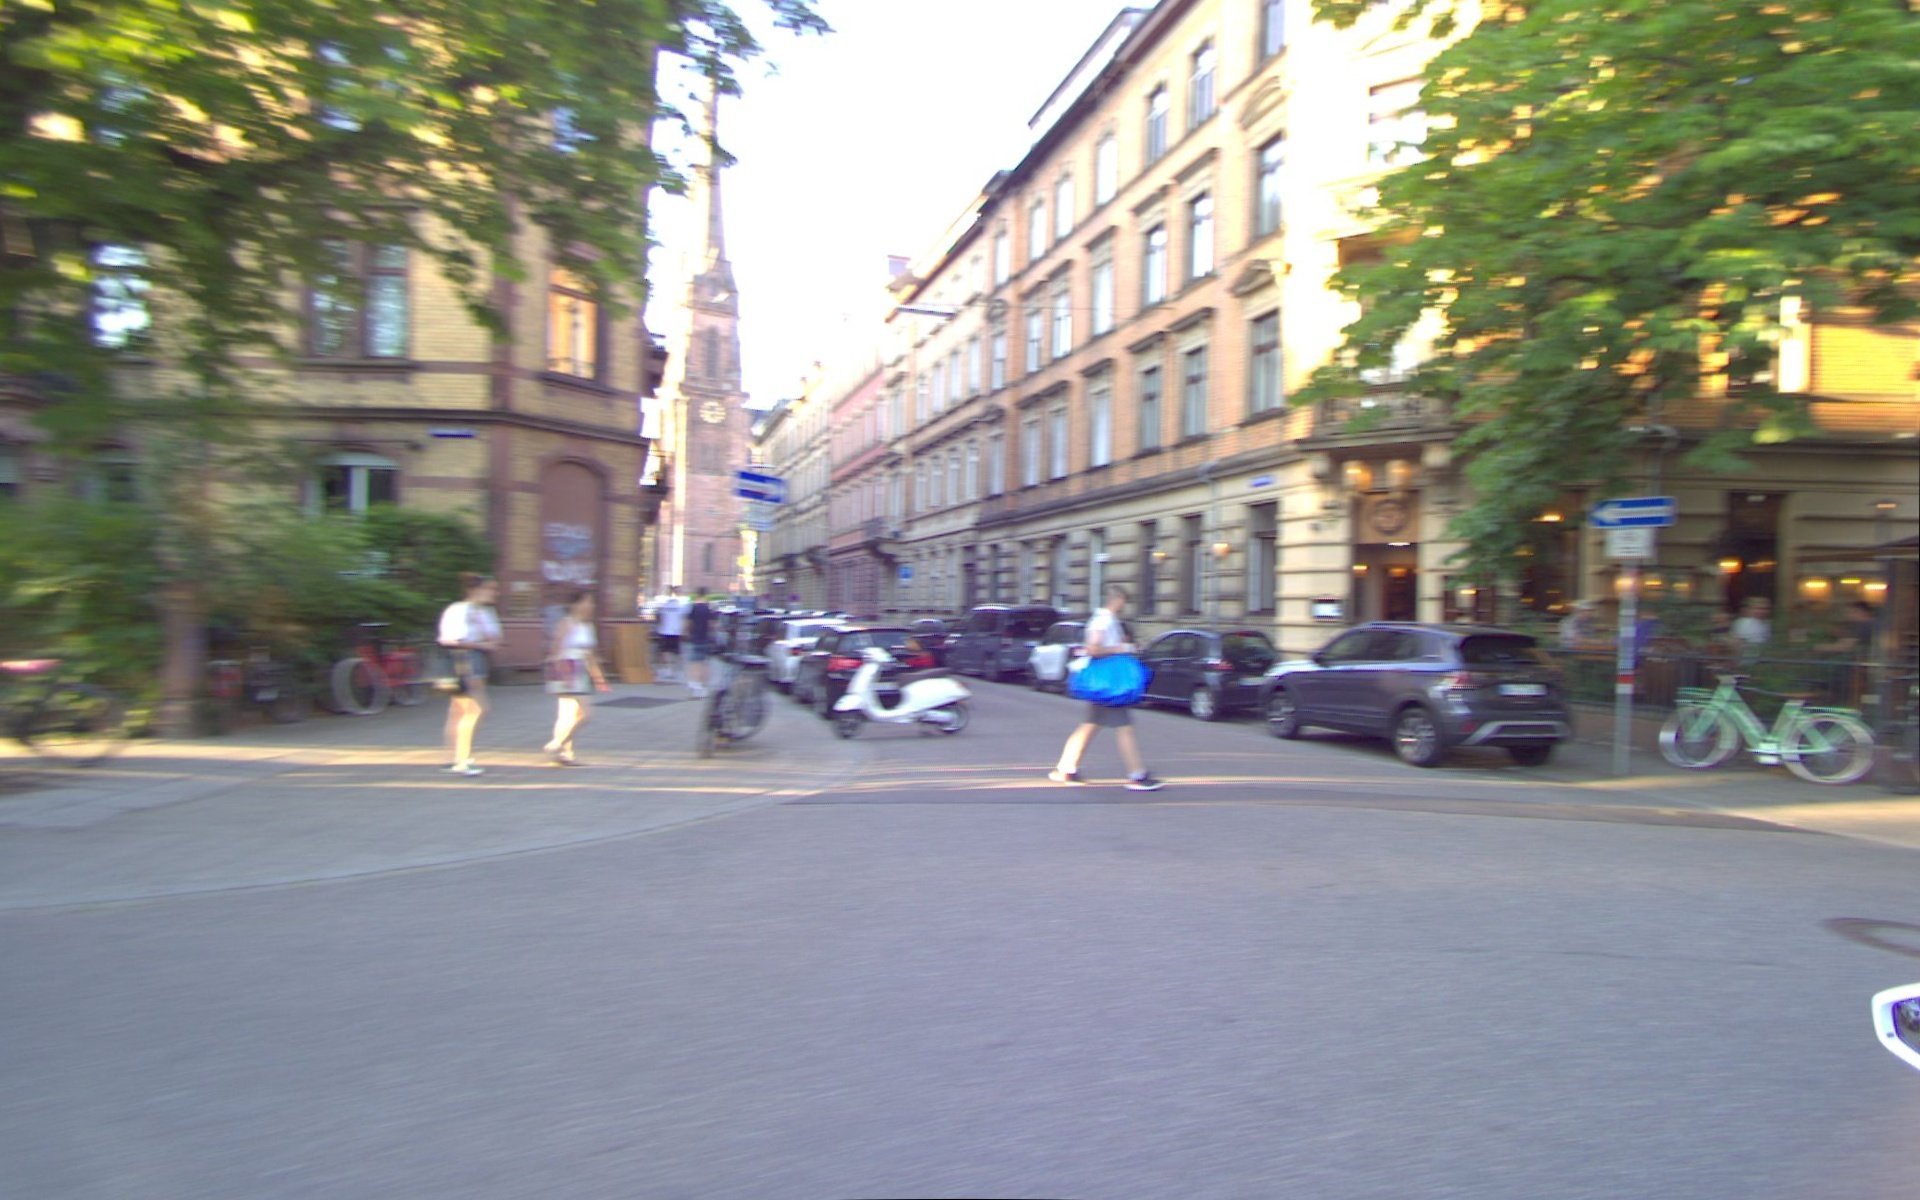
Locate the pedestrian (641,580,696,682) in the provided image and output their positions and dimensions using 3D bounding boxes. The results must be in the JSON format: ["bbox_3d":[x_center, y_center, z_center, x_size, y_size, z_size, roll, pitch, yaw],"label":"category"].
[{"bbox_3d":[-5.529,0.565,19.098,0.767,1.847,0.923,4,1,-10],"label":"pedestrian"}]

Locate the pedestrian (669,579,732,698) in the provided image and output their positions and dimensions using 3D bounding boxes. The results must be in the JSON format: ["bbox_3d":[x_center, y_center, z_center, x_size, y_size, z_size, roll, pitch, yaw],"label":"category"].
[{"bbox_3d":[-4.217,0.615,16.371,0.674,1.847,0.793,4,1,4],"label":"pedestrian"}]

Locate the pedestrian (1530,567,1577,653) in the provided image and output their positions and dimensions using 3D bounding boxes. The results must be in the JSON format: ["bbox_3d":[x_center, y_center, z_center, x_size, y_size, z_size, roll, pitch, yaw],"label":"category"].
[{"bbox_3d":[10.028,0.167,16.984,0.455,1.431,0.523,0,-1,-13],"label":"pedestrian"}]

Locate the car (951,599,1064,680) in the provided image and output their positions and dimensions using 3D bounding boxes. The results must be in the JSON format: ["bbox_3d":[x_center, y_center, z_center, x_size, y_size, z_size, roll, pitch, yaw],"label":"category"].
[{"bbox_3d":[1.100,0.937,24.839,1.662,1.847,3.474,0,-1,-18],"label":"car"}]

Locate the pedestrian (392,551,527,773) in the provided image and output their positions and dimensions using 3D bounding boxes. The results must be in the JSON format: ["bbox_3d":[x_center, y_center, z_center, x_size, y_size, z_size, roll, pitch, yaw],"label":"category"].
[{"bbox_3d":[-4.429,0.540,8.948,0.996,1.859,0.683,2,-1,-25],"label":"pedestrian"}]

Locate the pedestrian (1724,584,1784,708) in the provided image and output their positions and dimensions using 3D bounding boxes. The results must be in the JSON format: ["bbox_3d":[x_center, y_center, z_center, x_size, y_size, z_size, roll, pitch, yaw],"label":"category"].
[{"bbox_3d":[9.620,0.548,12.175,0.458,1.470,0.426,0,-1,-30],"label":"pedestrian"}]

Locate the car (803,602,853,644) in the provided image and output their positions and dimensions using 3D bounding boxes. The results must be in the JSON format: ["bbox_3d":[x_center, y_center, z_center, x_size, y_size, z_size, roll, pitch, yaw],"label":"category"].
[{"bbox_3d":[-6.117,1.029,46.128,1.662,1.847,3.474,0,-1,-18],"label":"car"}]

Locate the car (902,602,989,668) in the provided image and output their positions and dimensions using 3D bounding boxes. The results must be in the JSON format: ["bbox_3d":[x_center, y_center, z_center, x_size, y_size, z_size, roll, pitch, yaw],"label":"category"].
[{"bbox_3d":[-0.488,1.001,30.066,1.662,1.847,3.474,0,-1,-18],"label":"car"}]

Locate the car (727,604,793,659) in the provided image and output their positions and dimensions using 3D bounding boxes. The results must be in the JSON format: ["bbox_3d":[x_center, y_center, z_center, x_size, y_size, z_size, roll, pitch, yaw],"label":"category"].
[{"bbox_3d":[-6.298,0.961,31.325,1.554,1.593,4.103,0,-1,-18],"label":"car"}]

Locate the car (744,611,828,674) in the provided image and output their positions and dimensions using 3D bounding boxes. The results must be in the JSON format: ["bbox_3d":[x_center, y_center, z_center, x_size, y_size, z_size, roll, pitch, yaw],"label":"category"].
[{"bbox_3d":[-4.592,1.048,26.038,1.554,1.478,4.407,0,-1,-18],"label":"car"}]

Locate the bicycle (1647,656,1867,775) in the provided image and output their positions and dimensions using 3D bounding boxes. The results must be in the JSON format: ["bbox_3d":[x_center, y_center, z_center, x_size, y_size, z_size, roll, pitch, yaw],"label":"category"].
[{"bbox_3d":[8.504,1.188,10.802,0.389,1.113,1.810,0,-1,-36],"label":"bicycle"}]

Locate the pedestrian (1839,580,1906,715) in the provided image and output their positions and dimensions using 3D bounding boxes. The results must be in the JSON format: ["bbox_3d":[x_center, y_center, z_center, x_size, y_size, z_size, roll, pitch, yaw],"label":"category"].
[{"bbox_3d":[10.203,0.526,11.231,0.458,1.470,0.426,0,-1,-30],"label":"pedestrian"}]

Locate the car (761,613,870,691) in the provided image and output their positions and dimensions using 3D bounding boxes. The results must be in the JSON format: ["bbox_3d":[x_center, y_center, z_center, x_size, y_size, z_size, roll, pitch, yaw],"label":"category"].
[{"bbox_3d":[-3.153,1.017,21.235,1.554,1.478,4.407,0,-1,-18],"label":"car"}]

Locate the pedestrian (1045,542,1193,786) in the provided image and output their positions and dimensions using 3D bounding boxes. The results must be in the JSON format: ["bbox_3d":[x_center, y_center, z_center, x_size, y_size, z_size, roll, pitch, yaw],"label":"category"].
[{"bbox_3d":[1.396,0.551,8.950,0.994,2.040,0.865,1,-1,-19],"label":"pedestrian"}]

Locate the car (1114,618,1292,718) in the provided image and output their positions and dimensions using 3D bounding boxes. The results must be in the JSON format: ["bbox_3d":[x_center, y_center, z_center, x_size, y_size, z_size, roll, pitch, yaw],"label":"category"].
[{"bbox_3d":[4.042,1.073,17.198,1.444,1.478,3.320,0,0,-18],"label":"car"}]

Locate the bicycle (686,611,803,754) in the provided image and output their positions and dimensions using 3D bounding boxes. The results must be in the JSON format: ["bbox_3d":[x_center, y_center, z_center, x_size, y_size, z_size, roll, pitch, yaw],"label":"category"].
[{"bbox_3d":[-2.297,0.833,10.954,0.508,1.411,1.801,2,0,12],"label":"bicycle"}]

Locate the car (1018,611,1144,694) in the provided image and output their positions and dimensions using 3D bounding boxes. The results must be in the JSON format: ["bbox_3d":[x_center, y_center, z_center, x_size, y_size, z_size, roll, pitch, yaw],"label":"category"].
[{"bbox_3d":[2.473,1.048,21.288,1.443,1.615,3.322,0,-1,-17],"label":"car"}]

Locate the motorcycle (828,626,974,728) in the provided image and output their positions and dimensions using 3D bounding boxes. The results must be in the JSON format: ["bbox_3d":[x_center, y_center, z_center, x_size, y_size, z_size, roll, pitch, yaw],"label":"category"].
[{"bbox_3d":[-0.737,0.969,12.814,1.824,1.273,0.472,0,-1,-1],"label":"motorcycle"}]

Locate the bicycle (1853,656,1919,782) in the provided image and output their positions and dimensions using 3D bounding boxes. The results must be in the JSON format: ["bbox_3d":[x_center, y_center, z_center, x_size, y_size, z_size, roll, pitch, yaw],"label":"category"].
[{"bbox_3d":[9.637,1.142,9.620,1.711,1.159,0.393,0,1,5],"label":"bicycle"}]

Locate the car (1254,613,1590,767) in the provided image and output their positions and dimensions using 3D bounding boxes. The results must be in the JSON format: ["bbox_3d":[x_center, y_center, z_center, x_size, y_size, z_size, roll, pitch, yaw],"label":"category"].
[{"bbox_3d":[5.402,0.948,12.320,1.607,1.566,3.844,0,-1,-17],"label":"car"}]

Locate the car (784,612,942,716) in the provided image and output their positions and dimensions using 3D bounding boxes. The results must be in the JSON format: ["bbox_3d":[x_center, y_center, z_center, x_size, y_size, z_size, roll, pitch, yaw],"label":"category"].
[{"bbox_3d":[-1.714,0.943,16.494,1.759,1.478,4.002,0,-1,-18],"label":"car"}]

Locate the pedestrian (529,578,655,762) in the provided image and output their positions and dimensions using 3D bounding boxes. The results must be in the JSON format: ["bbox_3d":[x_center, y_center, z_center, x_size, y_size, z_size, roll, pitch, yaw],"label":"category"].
[{"bbox_3d":[-3.498,0.643,9.537,1.039,1.652,0.683,2,-1,-25],"label":"pedestrian"}]

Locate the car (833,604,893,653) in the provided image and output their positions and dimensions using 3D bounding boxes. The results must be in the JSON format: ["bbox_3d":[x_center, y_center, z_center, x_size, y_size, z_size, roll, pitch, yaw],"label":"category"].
[{"bbox_3d":[-3.915,1.122,40.118,1.662,1.847,3.474,0,-1,-18],"label":"car"}]
